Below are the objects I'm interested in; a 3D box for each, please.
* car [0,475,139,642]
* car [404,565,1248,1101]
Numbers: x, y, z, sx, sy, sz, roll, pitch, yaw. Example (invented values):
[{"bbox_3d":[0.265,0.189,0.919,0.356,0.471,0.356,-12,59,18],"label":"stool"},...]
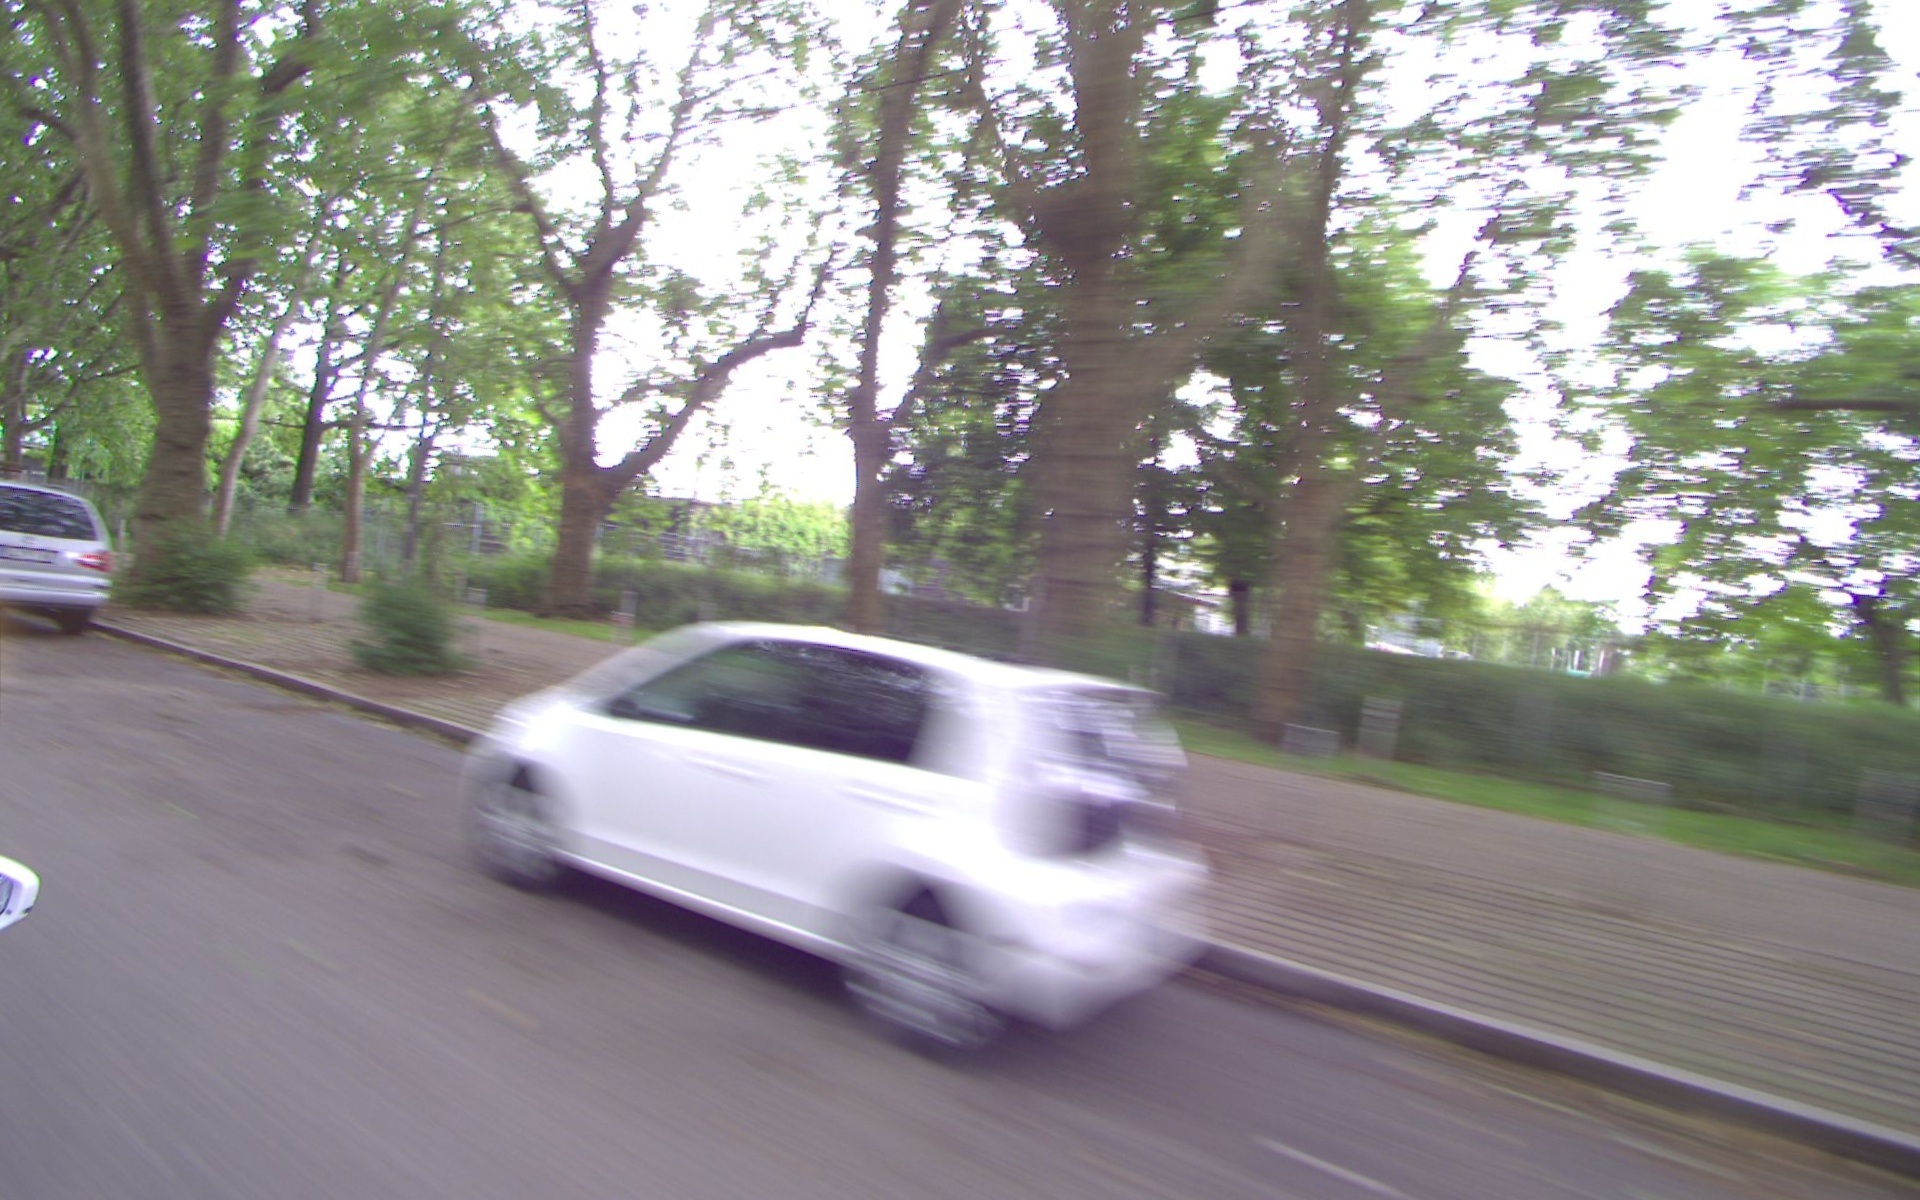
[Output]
[{"bbox_3d":[-12.267,-0.677,12.361,4.431,1.759,1.906,7,-1,32],"label":"car"},{"bbox_3d":[-0.780,0.811,5.021,3.824,1.444,1.711,7,-2,32],"label":"car"}]
